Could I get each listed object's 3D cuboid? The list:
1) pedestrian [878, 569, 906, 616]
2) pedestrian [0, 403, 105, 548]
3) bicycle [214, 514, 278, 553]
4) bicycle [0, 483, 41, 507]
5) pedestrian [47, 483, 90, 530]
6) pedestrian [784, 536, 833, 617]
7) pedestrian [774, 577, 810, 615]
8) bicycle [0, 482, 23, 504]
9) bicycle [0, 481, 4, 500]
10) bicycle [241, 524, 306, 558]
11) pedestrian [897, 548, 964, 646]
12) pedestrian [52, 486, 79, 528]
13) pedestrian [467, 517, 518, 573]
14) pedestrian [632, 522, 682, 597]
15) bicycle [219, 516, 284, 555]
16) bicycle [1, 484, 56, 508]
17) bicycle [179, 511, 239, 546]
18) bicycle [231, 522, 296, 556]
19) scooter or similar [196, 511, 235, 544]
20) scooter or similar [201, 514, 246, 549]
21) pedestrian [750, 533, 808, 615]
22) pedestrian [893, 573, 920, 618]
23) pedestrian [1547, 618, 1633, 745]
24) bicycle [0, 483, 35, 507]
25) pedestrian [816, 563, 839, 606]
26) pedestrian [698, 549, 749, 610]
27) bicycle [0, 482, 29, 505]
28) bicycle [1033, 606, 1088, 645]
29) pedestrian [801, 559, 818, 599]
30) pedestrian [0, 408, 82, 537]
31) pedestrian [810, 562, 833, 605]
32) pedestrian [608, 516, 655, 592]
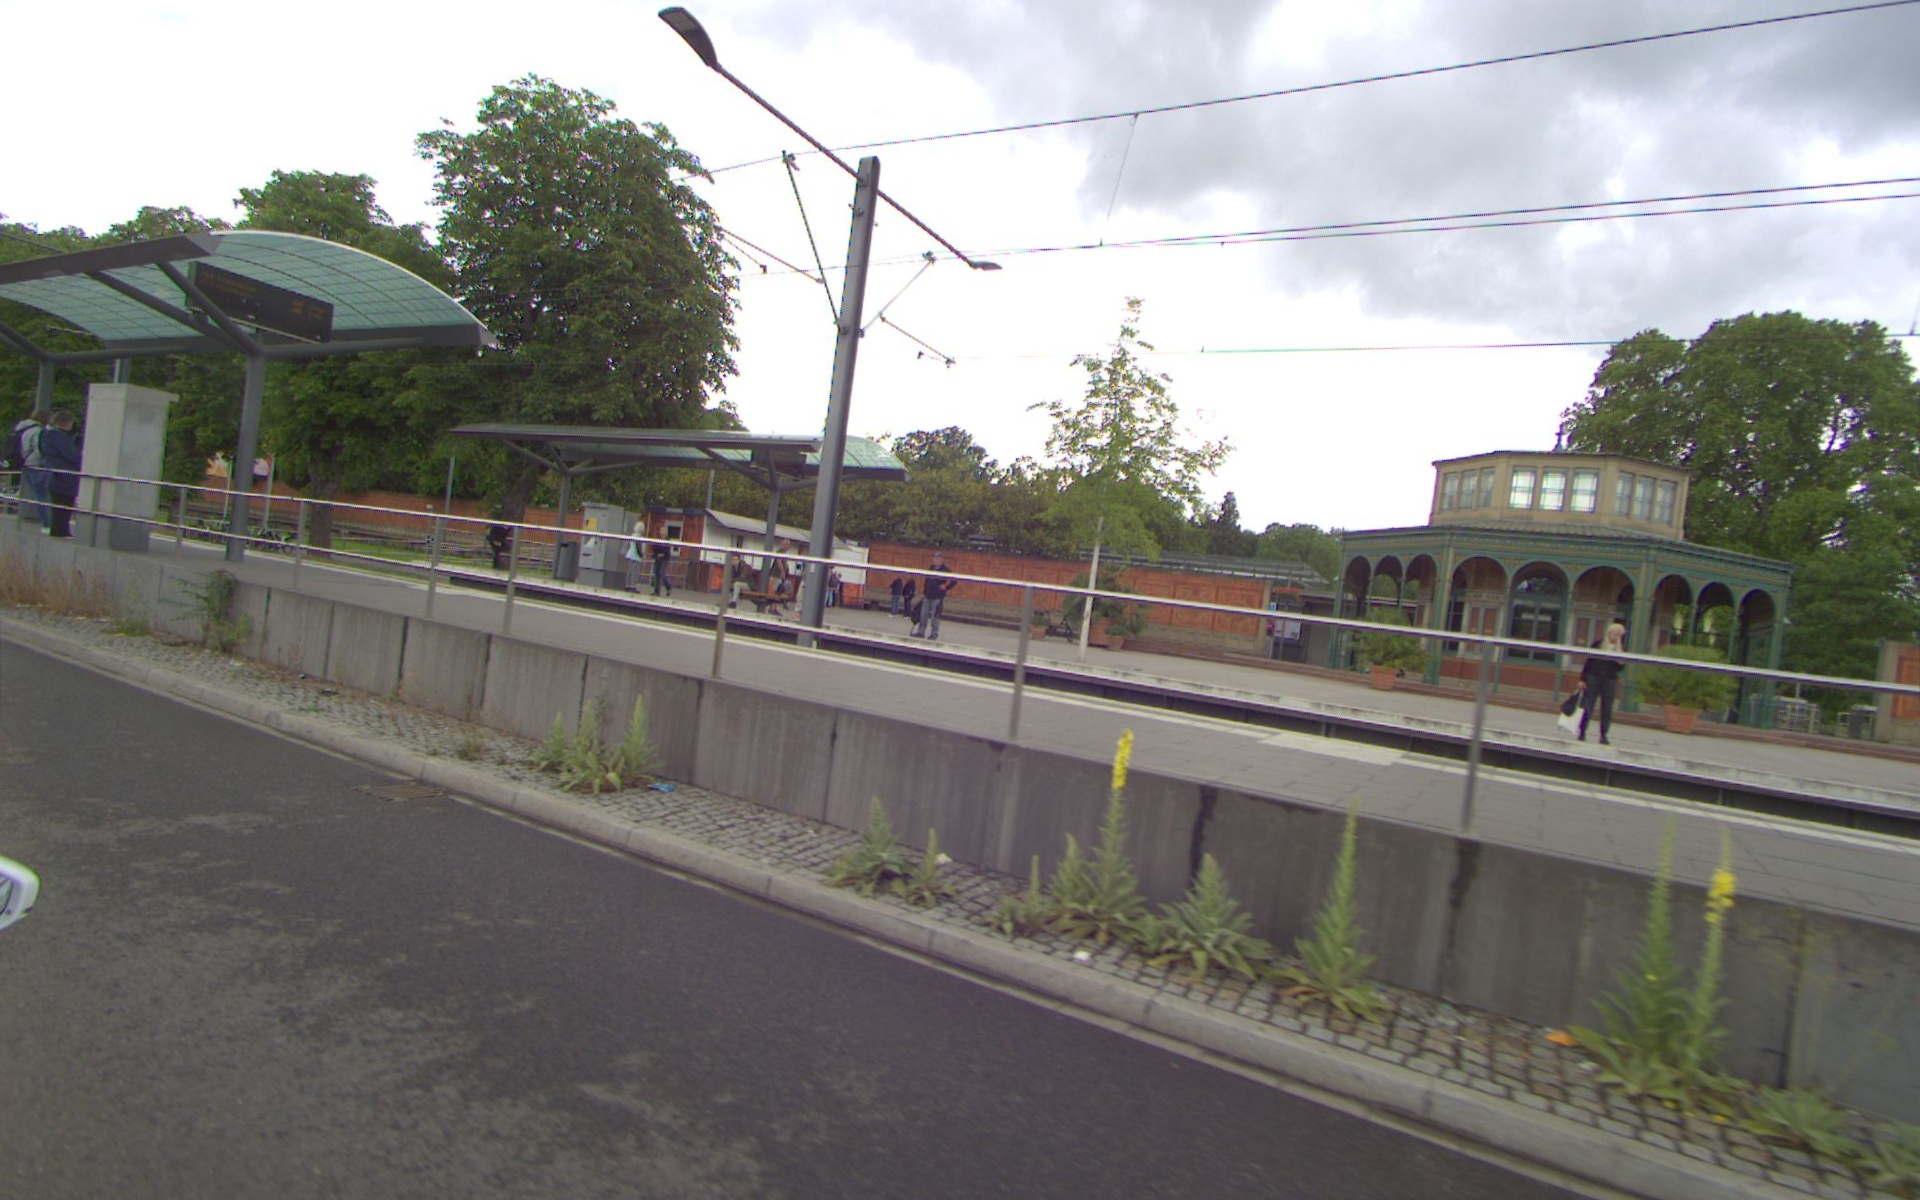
[{"bbox_3d":[-2.504,-0.280,37.170,0.610,1.601,0.657,8,-1,17],"label":"pedestrian"},{"bbox_3d":[-12.066,-1.640,13.306,0.719,1.719,0.772,10,0,32],"label":"pedestrian"},{"bbox_3d":[-28.004,-2.594,39.474,0.524,1.152,1.878,7,-2,31],"label":"bicycle"},{"bbox_3d":[-48.167,-5.353,51.209,0.522,0.987,1.914,8,1,31],"label":"bicycle"},{"bbox_3d":[-34.099,-3.550,38.474,0.763,1.629,0.835,7,1,8],"label":"pedestrian"},{"bbox_3d":[-3.273,-0.499,21.741,0.664,1.638,0.525,7,-1,32],"label":"pedestrian"},{"bbox_3d":[-3.743,-0.079,22.414,0.418,0.749,0.561,7,-2,39],"label":"pedestrian"},{"bbox_3d":[-50.139,-5.648,52.334,0.522,0.987,1.914,8,1,31],"label":"bicycle"},{"bbox_3d":[-52.623,-6.031,53.916,0.522,0.987,1.914,8,1,31],"label":"bicycle"},{"bbox_3d":[-25.924,-2.219,38.025,0.524,0.974,1.878,7,-3,31],"label":"bicycle"},{"bbox_3d":[-0.605,-0.059,20.678,0.934,1.859,0.634,7,-1,32],"label":"pedestrian"},{"bbox_3d":[-35.051,-3.645,39.429,0.506,1.521,0.498,7,2,8],"label":"pedestrian"},{"bbox_3d":[-12.633,-1.485,27.198,0.951,1.338,0.675,7,-2,29],"label":"pedestrian"},{"bbox_3d":[-7.440,-0.998,24.719,0.665,1.696,0.675,7,-1,27],"label":"pedestrian"},{"bbox_3d":[-27.267,-2.479,38.732,0.524,1.152,1.878,7,-2,31],"label":"bicycle"},{"bbox_3d":[-47.101,-5.249,50.870,0.522,0.907,1.914,8,1,31],"label":"bicycle"},{"bbox_3d":[-30.079,-2.854,40.321,0.475,1.045,1.768,7,-2,31],"label":"bicycle"},{"bbox_3d":[-26.542,-2.307,38.371,0.524,0.974,1.878,7,-3,31],"label":"bicycle"},{"bbox_3d":[-30.647,-2.963,41.438,1.157,1.152,0.330,10,-2,-36],"label":"scooter or similar"},{"bbox_3d":[-29.194,-2.716,39.900,0.328,1.152,1.275,7,-2,37],"label":"scooter or similar"},{"bbox_3d":[-4.099,-0.582,22.822,0.747,1.696,0.863,8,-1,20],"label":"pedestrian"},{"bbox_3d":[-2.006,-0.170,37.830,0.611,1.601,0.586,8,-1,18],"label":"pedestrian"},{"bbox_3d":[9.138,1.184,14.629,0.851,1.706,0.634,7,-1,30],"label":"pedestrian"},{"bbox_3d":[-48.735,-5.426,51.491,0.522,0.987,1.914,8,1,31],"label":"bicycle"},{"bbox_3d":[-5.003,-0.586,38.106,0.452,1.504,0.486,7,-1,33],"label":"pedestrian"},{"bbox_3d":[-5.207,-0.444,22.139,0.664,1.204,0.659,7,-2,32],"label":"pedestrian"},{"bbox_3d":[-49.500,-5.571,51.991,0.522,0.987,1.914,8,1,31],"label":"bicycle"},{"bbox_3d":[3.385,0.877,34.063,1.684,1.073,0.564,8,-1,0],"label":"bicycle"},{"bbox_3d":[-5.872,-0.801,39.157,0.311,1.504,0.342,7,-1,33],"label":"pedestrian"},{"bbox_3d":[-12.736,-1.742,13.745,0.762,1.571,0.752,10,0,32],"label":"pedestrian"},{"bbox_3d":[-5.301,-0.635,38.570,0.452,1.553,0.486,7,-1,33],"label":"pedestrian"},{"bbox_3d":[-7.894,-1.094,24.148,0.664,1.696,0.545,7,-1,27],"label":"pedestrian"}]
